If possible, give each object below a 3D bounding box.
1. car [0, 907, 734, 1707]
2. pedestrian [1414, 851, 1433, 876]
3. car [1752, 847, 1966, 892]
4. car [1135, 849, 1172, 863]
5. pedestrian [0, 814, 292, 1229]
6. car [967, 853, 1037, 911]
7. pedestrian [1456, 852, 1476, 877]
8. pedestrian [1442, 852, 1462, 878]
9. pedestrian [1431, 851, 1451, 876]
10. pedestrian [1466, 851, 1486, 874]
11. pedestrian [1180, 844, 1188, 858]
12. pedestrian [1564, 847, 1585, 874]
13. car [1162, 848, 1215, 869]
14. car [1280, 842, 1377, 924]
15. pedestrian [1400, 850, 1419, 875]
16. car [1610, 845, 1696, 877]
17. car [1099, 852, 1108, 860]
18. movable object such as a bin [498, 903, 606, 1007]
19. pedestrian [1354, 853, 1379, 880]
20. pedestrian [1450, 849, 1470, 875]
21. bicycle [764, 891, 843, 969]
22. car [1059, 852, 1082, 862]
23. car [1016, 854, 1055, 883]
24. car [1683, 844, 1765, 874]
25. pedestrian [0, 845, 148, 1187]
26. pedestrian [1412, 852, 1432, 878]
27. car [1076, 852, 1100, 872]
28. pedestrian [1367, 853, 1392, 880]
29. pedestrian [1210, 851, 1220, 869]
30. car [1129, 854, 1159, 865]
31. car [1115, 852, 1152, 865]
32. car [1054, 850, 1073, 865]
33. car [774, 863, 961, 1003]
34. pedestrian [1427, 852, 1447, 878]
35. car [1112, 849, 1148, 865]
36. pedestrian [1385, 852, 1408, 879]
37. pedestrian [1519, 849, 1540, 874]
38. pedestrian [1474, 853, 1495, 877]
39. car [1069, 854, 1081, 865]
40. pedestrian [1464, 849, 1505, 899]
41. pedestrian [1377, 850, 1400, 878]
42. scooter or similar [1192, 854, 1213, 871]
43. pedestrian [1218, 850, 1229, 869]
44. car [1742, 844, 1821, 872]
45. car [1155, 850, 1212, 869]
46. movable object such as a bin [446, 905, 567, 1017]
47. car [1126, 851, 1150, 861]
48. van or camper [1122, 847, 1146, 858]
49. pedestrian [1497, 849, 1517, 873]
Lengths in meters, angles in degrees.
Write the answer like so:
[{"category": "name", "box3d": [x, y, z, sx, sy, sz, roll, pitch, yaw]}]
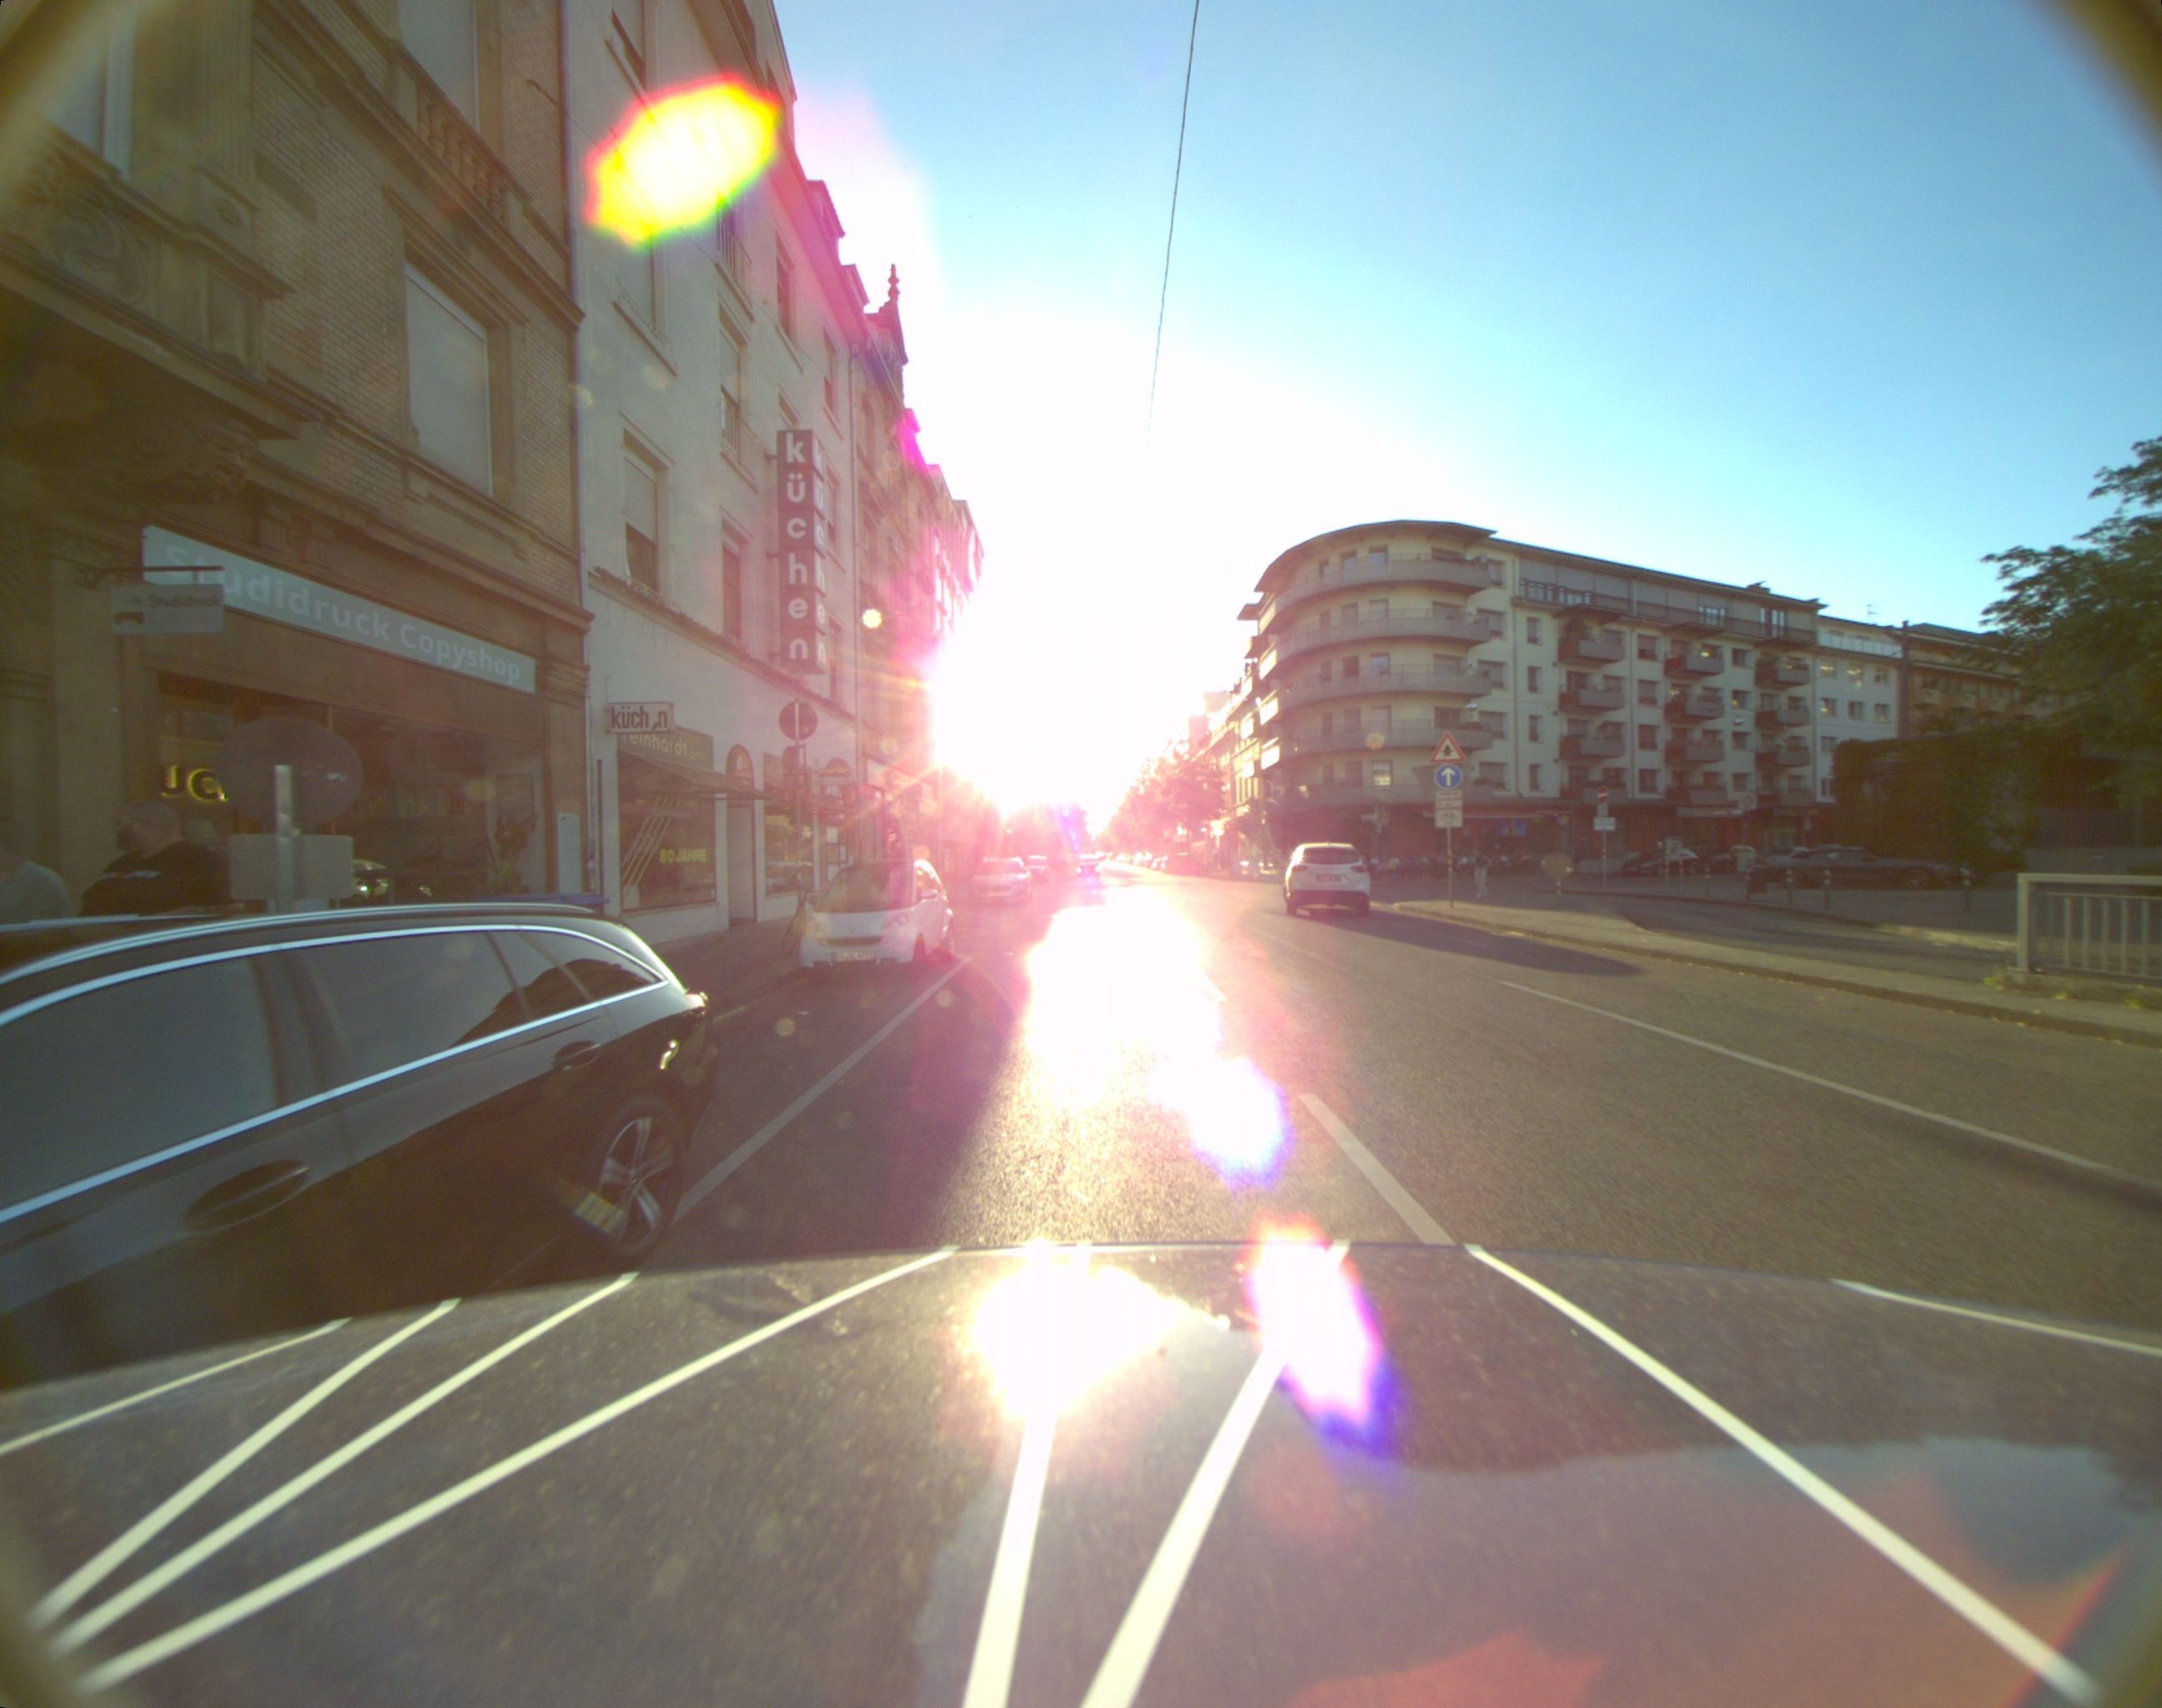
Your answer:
[{"category": "car", "box3d": [-2.634, 1.053, 1.423, 1.734, 1.440, 4.524, -3, 1, 1]}, {"category": "pedestrian", "box3d": [17.716, 0.492, 39.313, 0.622, 1.240, 0.701, -1, 2, -9]}, {"category": "car", "box3d": [25.209, 0.467, 24.816, 2.003, 1.310, 4.518, 0, 0, -30]}, {"category": "car", "box3d": [9.035, 0.270, 95.234, 4.417, 1.586, 1.890, -2, 0, 0]}, {"category": "pedestrian", "box3d": [-4.894, 0.733, 3.829, 0.774, 1.816, 1.010, 0, 1, 0]}, {"category": "car", "box3d": [-2.446, 0.820, 24.624, 1.763, 1.528, 4.820, -3, 1, -1]}, {"category": "pedestrian", "box3d": [19.666, 0.533, 38.786, 0.622, 1.281, 0.701, -1, 2, -9]}, {"category": "pedestrian", "box3d": [18.796, 0.526, 38.464, 0.622, 1.281, 0.701, -1, 2, -9]}, {"category": "pedestrian", "box3d": [18.734, 0.481, 39.587, 0.657, 1.281, 0.701, -1, 2, -9]}, {"category": "pedestrian", "box3d": [21.217, 0.443, 40.789, 0.622, 1.218, 0.700, -1, 2, -12]}, {"category": "pedestrian", "box3d": [12.256, -0.355, 90.667, 0.774, 1.712, 0.875, -2, 2, 1]}, {"category": "pedestrian", "box3d": [26.852, 0.336, 41.346, 0.702, 1.461, 0.620, -1, 2, -25]}, {"category": "car", "box3d": [8.887, 0.379, 62.880, 4.082, 1.527, 1.884, -2, 0, 1]}, {"category": "car", "box3d": [6.055, 0.587, 18.796, 1.996, 1.751, 4.470, 1, 2, 17]}, {"category": "pedestrian", "box3d": [16.958, 0.445, 39.195, 0.622, 1.240, 0.701, -1, 2, -9]}, {"category": "car", "box3d": [31.182, 0.350, 41.407, 4.004, 1.587, 1.966, -1, 1, -22]}, {"category": "car", "box3d": [4.723, 0.478, 159.711, 1.866, 1.682, 4.461, -1, -1, 0]}, {"category": "movable object such as a bin", "box3d": [-5.903, 1.110, 8.507, 0.776, 1.064, 0.618, 1, 1, 0]}, {"category": "pedestrian", "box3d": [14.023, 0.606, 37.310, 0.900, 1.235, 0.767, -1, 2, -8]}, {"category": "pedestrian", "box3d": [19.866, 0.417, 39.836, 0.622, 1.326, 0.701, -1, 2, -9]}, {"category": "bicycle", "box3d": [-4.299, 1.143, 11.915, 0.505, 1.010, 1.947, -1, 0, 0]}, {"category": "car", "box3d": [-1.697, 0.511, 122.860, 1.661, 1.574, 3.632, 0, -1, 42]}, {"category": "car", "box3d": [-2.520, 0.772, 42.756, 1.763, 1.527, 4.000, 2, 0, 2]}, {"category": "car", "box3d": [37.024, 0.277, 43.761, 4.004, 1.587, 1.966, -1, 1, -22]}, {"category": "pedestrian", "box3d": [-5.754, 0.801, 3.845, 0.774, 1.701, 1.042, 0, 1, 0]}, {"category": "pedestrian", "box3d": [17.199, 0.553, 38.300, 0.622, 1.240, 0.701, -1, 2, -9]}, {"category": "car", "box3d": [0.581, 0.603, 59.199, 1.825, 1.469, 4.155, -2, 0, 2]}, {"category": "pedestrian", "box3d": [14.405, 0.578, 36.685, 0.829, 1.266, 0.748, -1, 2, -8]}, {"category": "pedestrian", "box3d": [11.826, 0.491, 67.029, 0.736, 1.519, 0.875, -2, 2, 1]}, {"category": "car", "box3d": [9.147, 0.730, 110.439, 4.285, 1.475, 1.744, -2, 0, 1]}, {"category": "car", "box3d": [6.246, 0.502, 89.946, 4.160, 1.413, 1.766, -2, 0, -2]}, {"category": "car", "box3d": [-2.086, 0.440, 90.435, 2.043, 1.727, 4.711, 1, 0, 2]}, {"category": "car", "box3d": [-2.804, 0.962, 10.686, 1.535, 1.528, 3.283, -2, 1, 2]}, {"category": "pedestrian", "box3d": [17.986, 0.548, 38.377, 0.622, 1.240, 0.701, -1, 2, -9]}, {"category": "car", "box3d": [5.943, 0.404, 92.855, 4.160, 1.762, 1.889, -2, 0, -2]}, {"category": "pedestrian", "box3d": [15.489, 0.559, 37.336, 0.724, 1.240, 0.828, -1, 2, -5]}, {"category": "pedestrian", "box3d": [23.932, 0.406, 40.541, 0.622, 1.281, 0.700, -1, 2, -21]}, {"category": "pedestrian", "box3d": [20.902, 0.545, 39.383, 0.622, 1.218, 0.700, -1, 2, -12]}, {"category": "car", "box3d": [-0.843, 0.840, 113.048, 1.695, 1.534, 3.553, 1, 0, 0]}, {"category": "pedestrian", "box3d": [13.000, 0.628, 24.496, 0.901, 1.557, 0.766, -1, 0, -24]}, {"category": "pedestrian", "box3d": [15.526, 0.493, 38.354, 0.748, 1.340, 0.828, -1, 2, -5]}, {"category": "scooter or similar", "box3d": [8.830, 0.604, 55.207, 1.402, 1.219, 0.525, -2, 1, -2]}, {"category": "pedestrian", "box3d": [12.535, 0.499, 66.995, 0.774, 1.599, 0.875, -2, 2, 1]}, {"category": "car", "box3d": [42.277, 0.225, 45.859, 4.004, 1.587, 1.966, -1, 1, -22]}, {"category": "car", "box3d": [8.753, 0.456, 65.289, 4.582, 1.399, 1.821, -2, 0, -1]}, {"category": "movable object such as a bin", "box3d": [-5.925, 1.085, 7.864, 0.776, 1.064, 0.618, 1, 1, 0]}, {"category": "car", "box3d": [9.478, 0.362, 126.727, 3.876, 1.448, 1.744, -2, 0, -1]}, {"category": "van or camper", "box3d": [9.854, -0.210, 141.262, 4.469, 1.945, 1.789, -1, 0, 2]}, {"category": "pedestrian", "box3d": [23.227, 0.390, 41.452, 0.622, 1.281, 0.700, -1, 2, -21]}]
